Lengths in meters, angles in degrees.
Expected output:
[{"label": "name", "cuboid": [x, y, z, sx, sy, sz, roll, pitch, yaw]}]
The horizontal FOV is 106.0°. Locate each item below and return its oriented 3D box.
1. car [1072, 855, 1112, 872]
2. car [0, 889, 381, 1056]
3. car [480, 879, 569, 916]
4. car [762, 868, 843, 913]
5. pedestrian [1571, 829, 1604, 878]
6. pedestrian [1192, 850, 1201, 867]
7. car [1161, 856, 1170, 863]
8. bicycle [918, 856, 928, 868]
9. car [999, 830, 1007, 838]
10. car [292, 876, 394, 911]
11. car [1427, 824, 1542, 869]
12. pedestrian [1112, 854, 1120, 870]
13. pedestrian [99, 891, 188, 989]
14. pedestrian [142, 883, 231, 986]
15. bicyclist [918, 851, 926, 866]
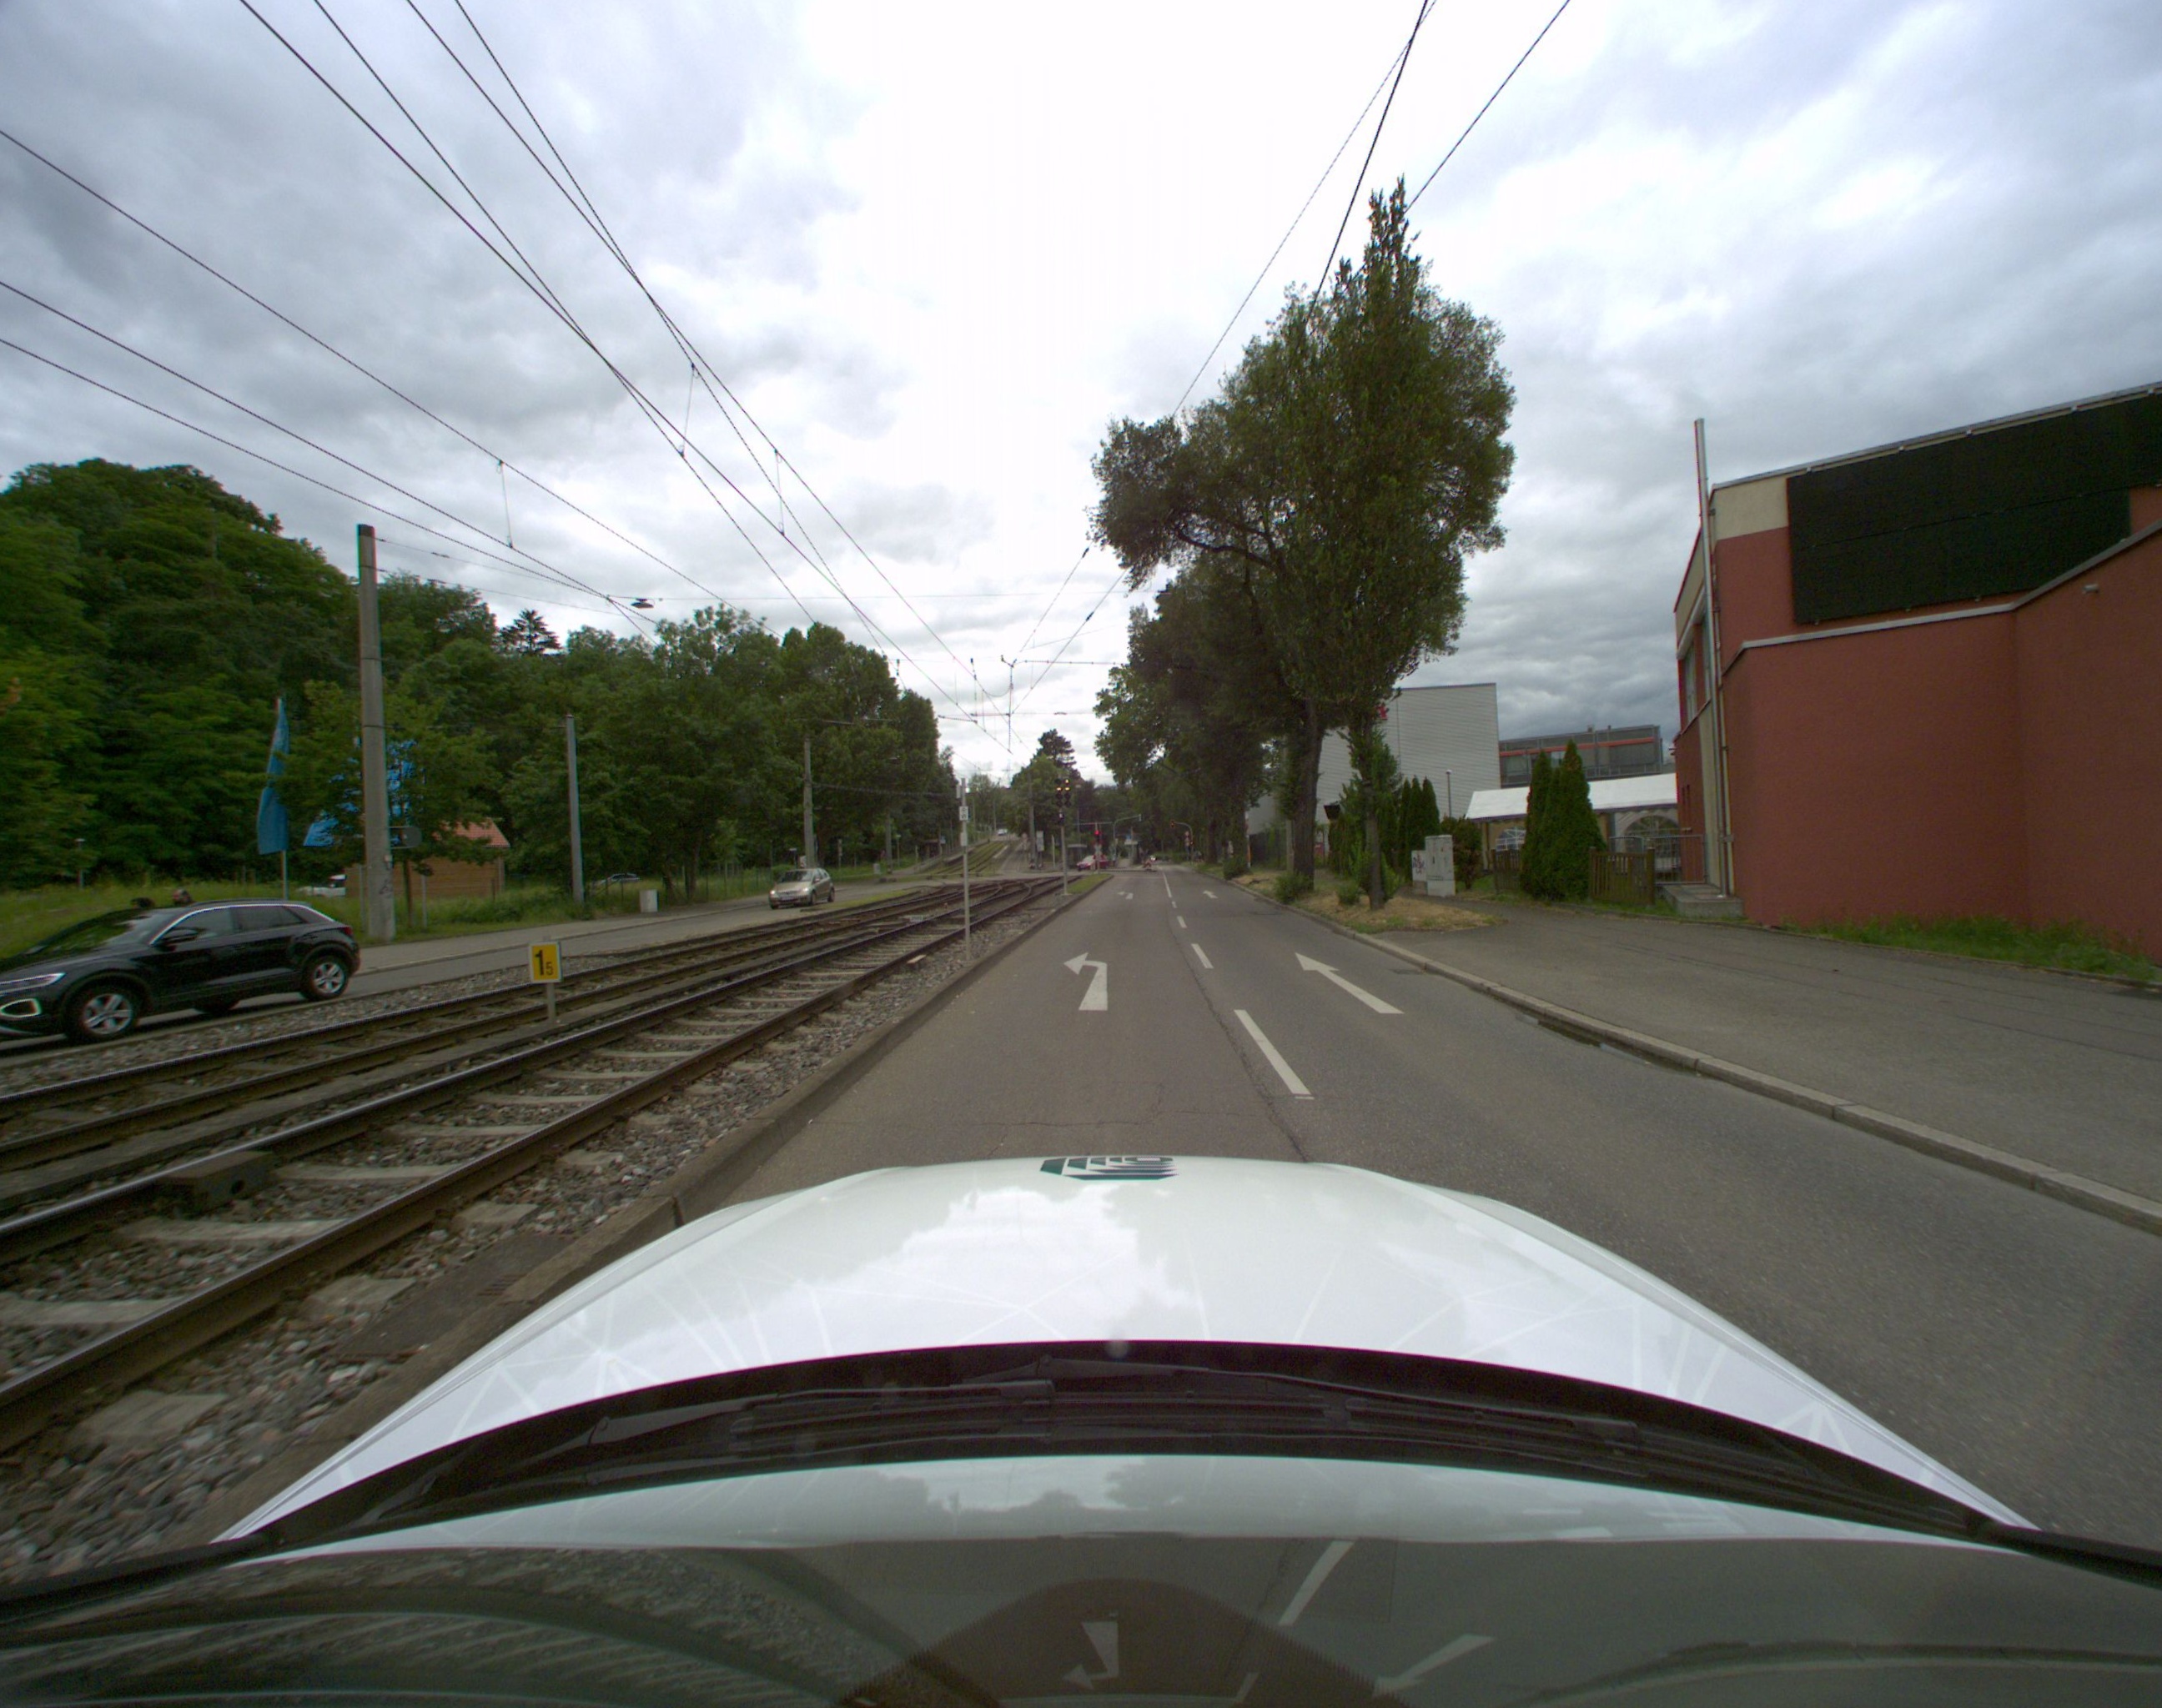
[{"label": "car", "cuboid": [1.108, 0.921, 80.459, 1.974, 1.515, 4.529, -2, 0, 30]}, {"label": "car", "cuboid": [-11.724, 1.374, 10.472, 1.682, 1.532, 4.254, -6, 0, -1]}, {"label": "car", "cuboid": [-30.099, 2.315, 44.195, 1.987, 1.750, 3.999, -3, 0, 0]}, {"label": "car", "cuboid": [-11.741, 1.486, 34.649, 1.885, 1.532, 4.254, -6, 0, -1]}, {"label": "pedestrian", "cuboid": [15.728, -0.012, 25.286, 0.696, 1.490, 0.775, -3, -1, 41]}, {"label": "pedestrian", "cuboid": [13.717, 0.544, 96.337, 0.925, 2.014, 0.670, -3, -1, 11]}, {"label": "car", "cuboid": [23.000, 1.608, 222.534, 1.986, 1.816, 4.001, -3, 0, 1]}, {"label": "bicycle", "cuboid": [-20.633, 1.016, 106.148, 0.822, 1.343, 2.993, -3, 2, -3]}, {"label": "car", "cuboid": [-23.422, -6.005, 244.601, 1.987, 2.013, 4.001, -3, 0, 1]}, {"label": "car", "cuboid": [-47.237, 2.498, 52.236, 1.974, 2.013, 4.431, -2, 0, 30]}, {"label": "car", "cuboid": [17.524, -0.307, 35.553, 4.321, 1.706, 2.012, -3, 0, 25]}, {"label": "pedestrian", "cuboid": [3.980, 0.908, 92.956, 0.766, 1.852, 0.910, -3, -1, 2]}, {"label": "pedestrian", "cuboid": [-17.198, 1.556, 14.963, 0.626, 1.713, 0.856, -1, 0, 1]}, {"label": "pedestrian", "cuboid": [-16.523, 1.457, 15.059, 0.674, 1.813, 0.856, -1, 0, 1]}, {"label": "bicyclist", "cuboid": [-20.634, 0.541, 105.878, 0.819, 1.849, 1.051, -2, 2, -3]}]
